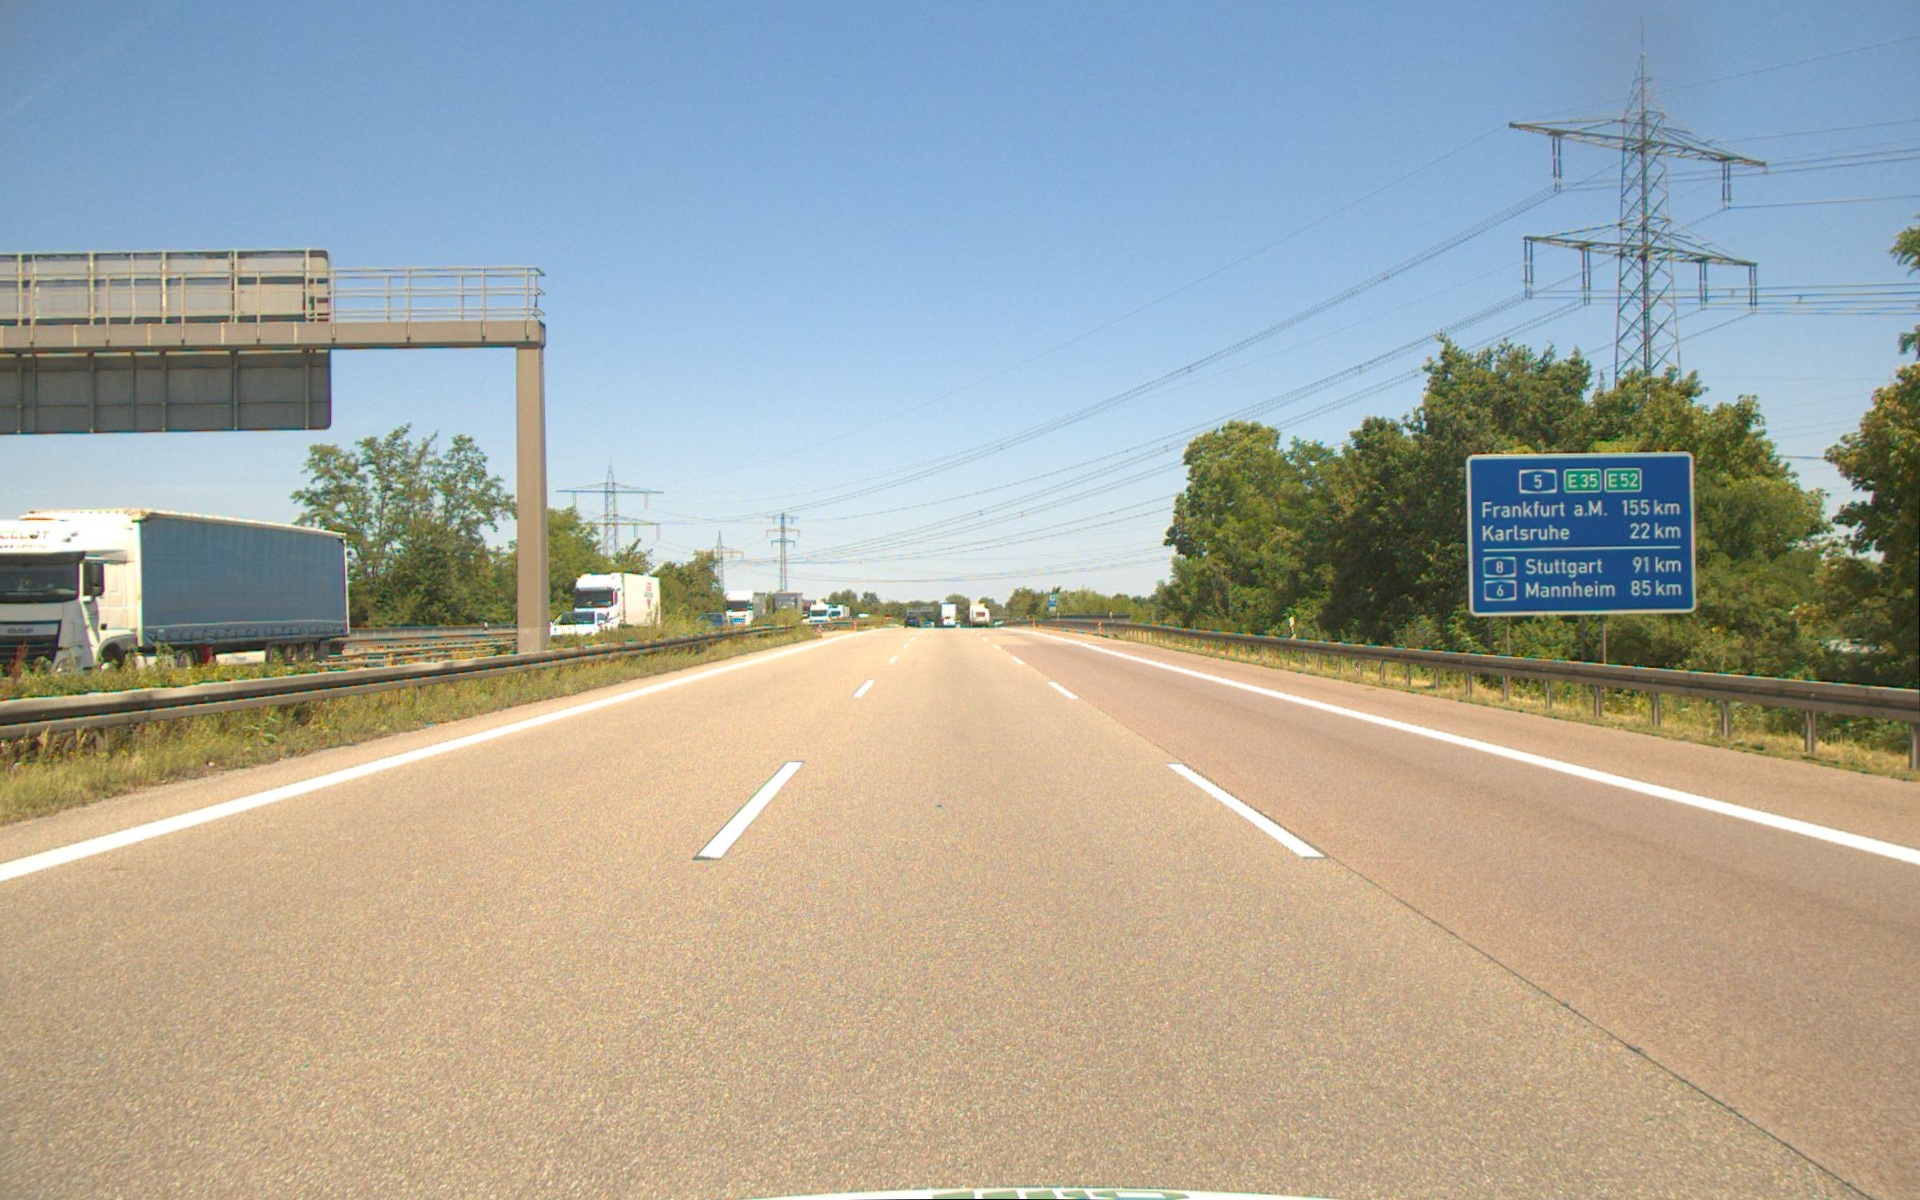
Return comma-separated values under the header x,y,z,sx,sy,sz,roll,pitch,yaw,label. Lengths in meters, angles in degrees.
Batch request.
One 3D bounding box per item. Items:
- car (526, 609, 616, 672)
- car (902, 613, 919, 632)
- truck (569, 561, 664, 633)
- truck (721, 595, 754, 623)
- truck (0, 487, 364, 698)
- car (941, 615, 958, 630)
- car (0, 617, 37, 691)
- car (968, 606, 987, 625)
x,y,z,sx,sy,sz,roll,pitch,yaw,label
-13.434,1.363,57.440,1.952,2.049,4.699,-1,0,0,car
-5.554,2.525,186.891,1.755,2.049,3.887,1,0,0,car
-21.602,-0.139,105.176,2.901,4.162,17.023,-1,0,-1,truck
-21.332,0.873,159.097,2.451,2.507,12.280,-1,0,-5,truck
-20.149,-0.120,43.783,2.657,4.466,17.323,-1,0,-1,truck
-1.427,3.120,226.027,2.132,1.963,4.613,-1,0,3,car
-25.116,1.385,41.406,1.893,1.847,3.997,-1,0,-3,car
1.974,1.776,188.596,1.953,2.049,3.999,-1,0,-1,car
